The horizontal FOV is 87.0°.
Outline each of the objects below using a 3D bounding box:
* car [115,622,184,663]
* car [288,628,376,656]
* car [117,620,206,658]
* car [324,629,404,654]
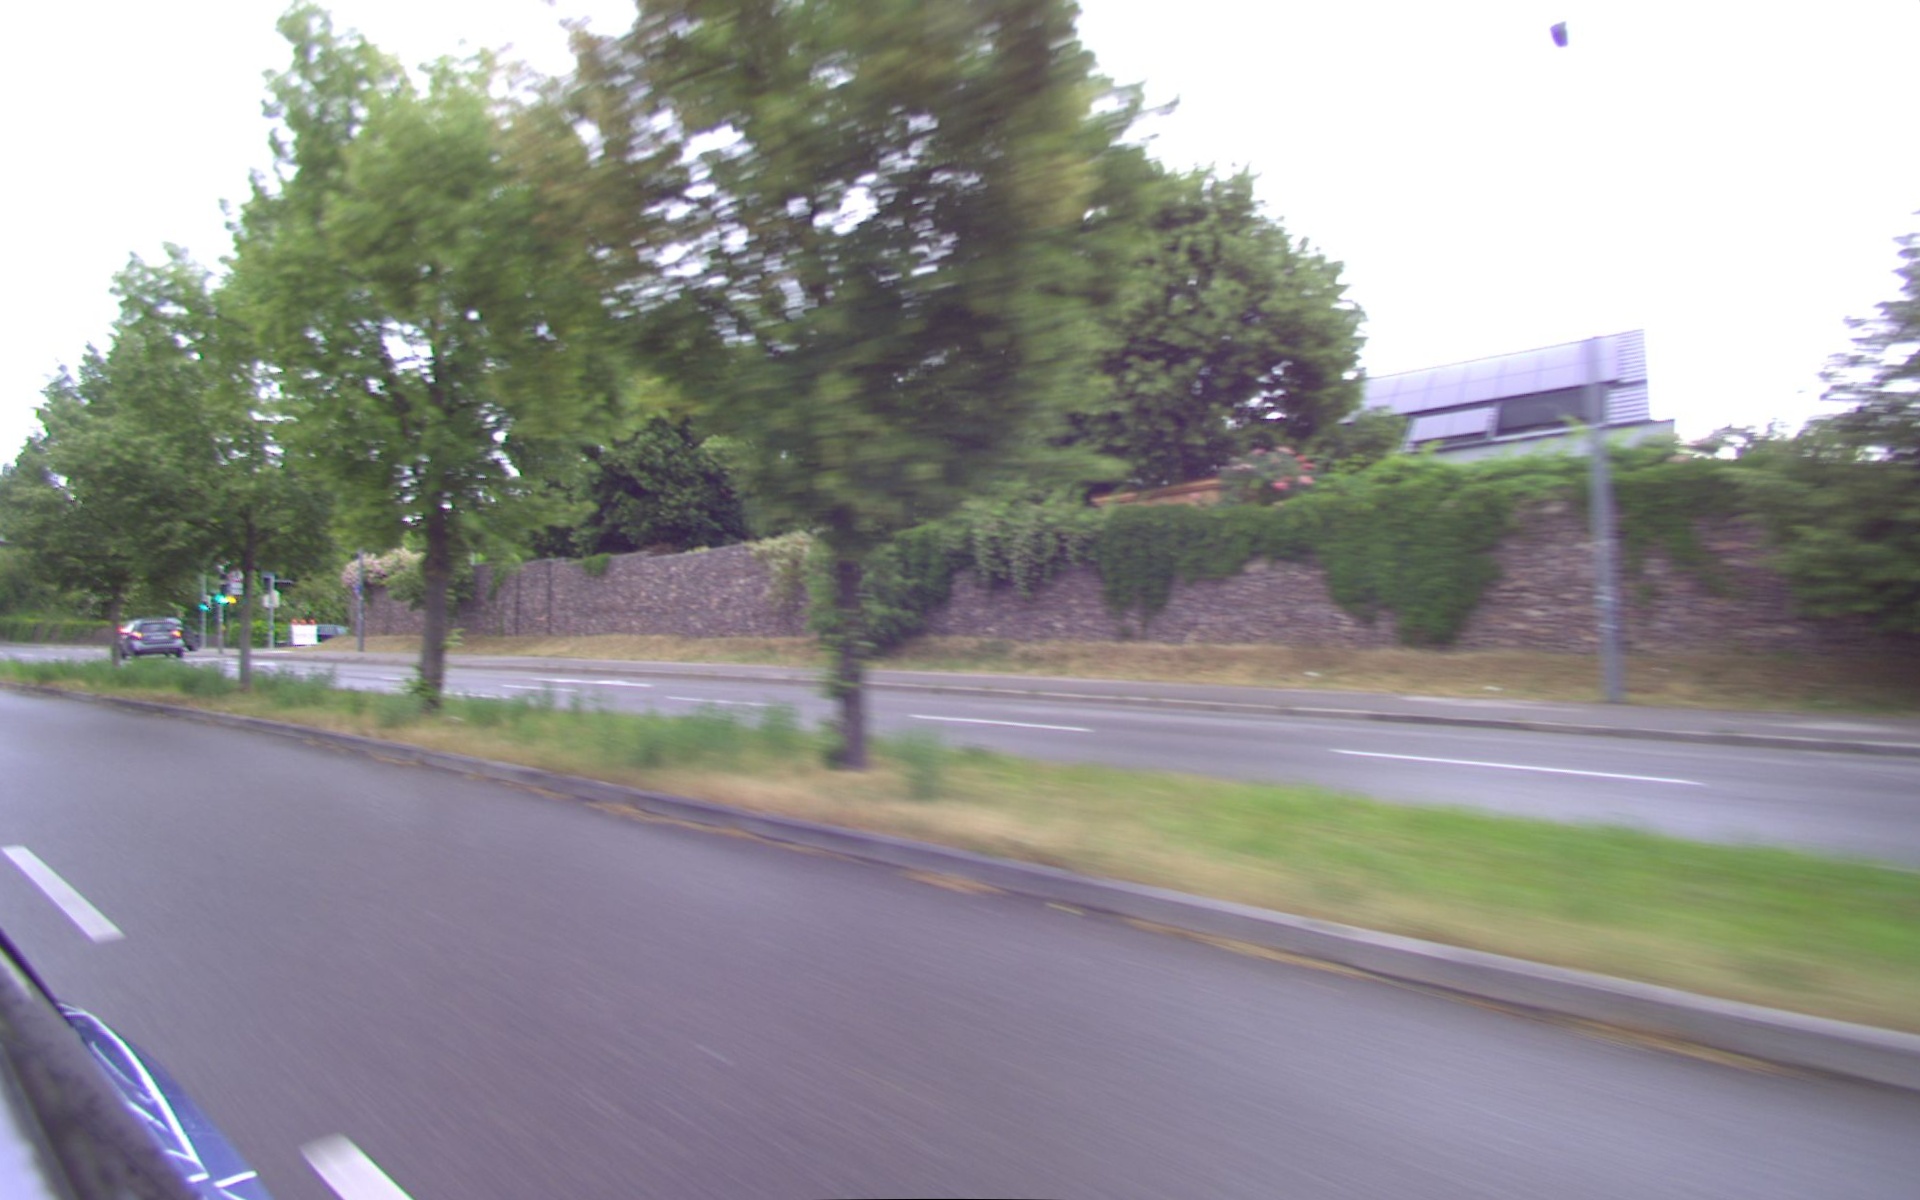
[{"bbox_3d":[-32.656,1.710,40.751,2.914,1.551,1.669,-3,-2,40],"label":"car"},{"bbox_3d":[-35.578,2.365,57.406,1.598,1.501,3.956,-1,-1,32],"label":"car"},{"bbox_3d":[-37.220,1.764,47.328,1.855,1.607,4.782,-1,0,-20],"label":"car"},{"bbox_3d":[-36.658,2.571,62.326,1.691,1.484,3.945,-4,-5,41],"label":"car"}]
